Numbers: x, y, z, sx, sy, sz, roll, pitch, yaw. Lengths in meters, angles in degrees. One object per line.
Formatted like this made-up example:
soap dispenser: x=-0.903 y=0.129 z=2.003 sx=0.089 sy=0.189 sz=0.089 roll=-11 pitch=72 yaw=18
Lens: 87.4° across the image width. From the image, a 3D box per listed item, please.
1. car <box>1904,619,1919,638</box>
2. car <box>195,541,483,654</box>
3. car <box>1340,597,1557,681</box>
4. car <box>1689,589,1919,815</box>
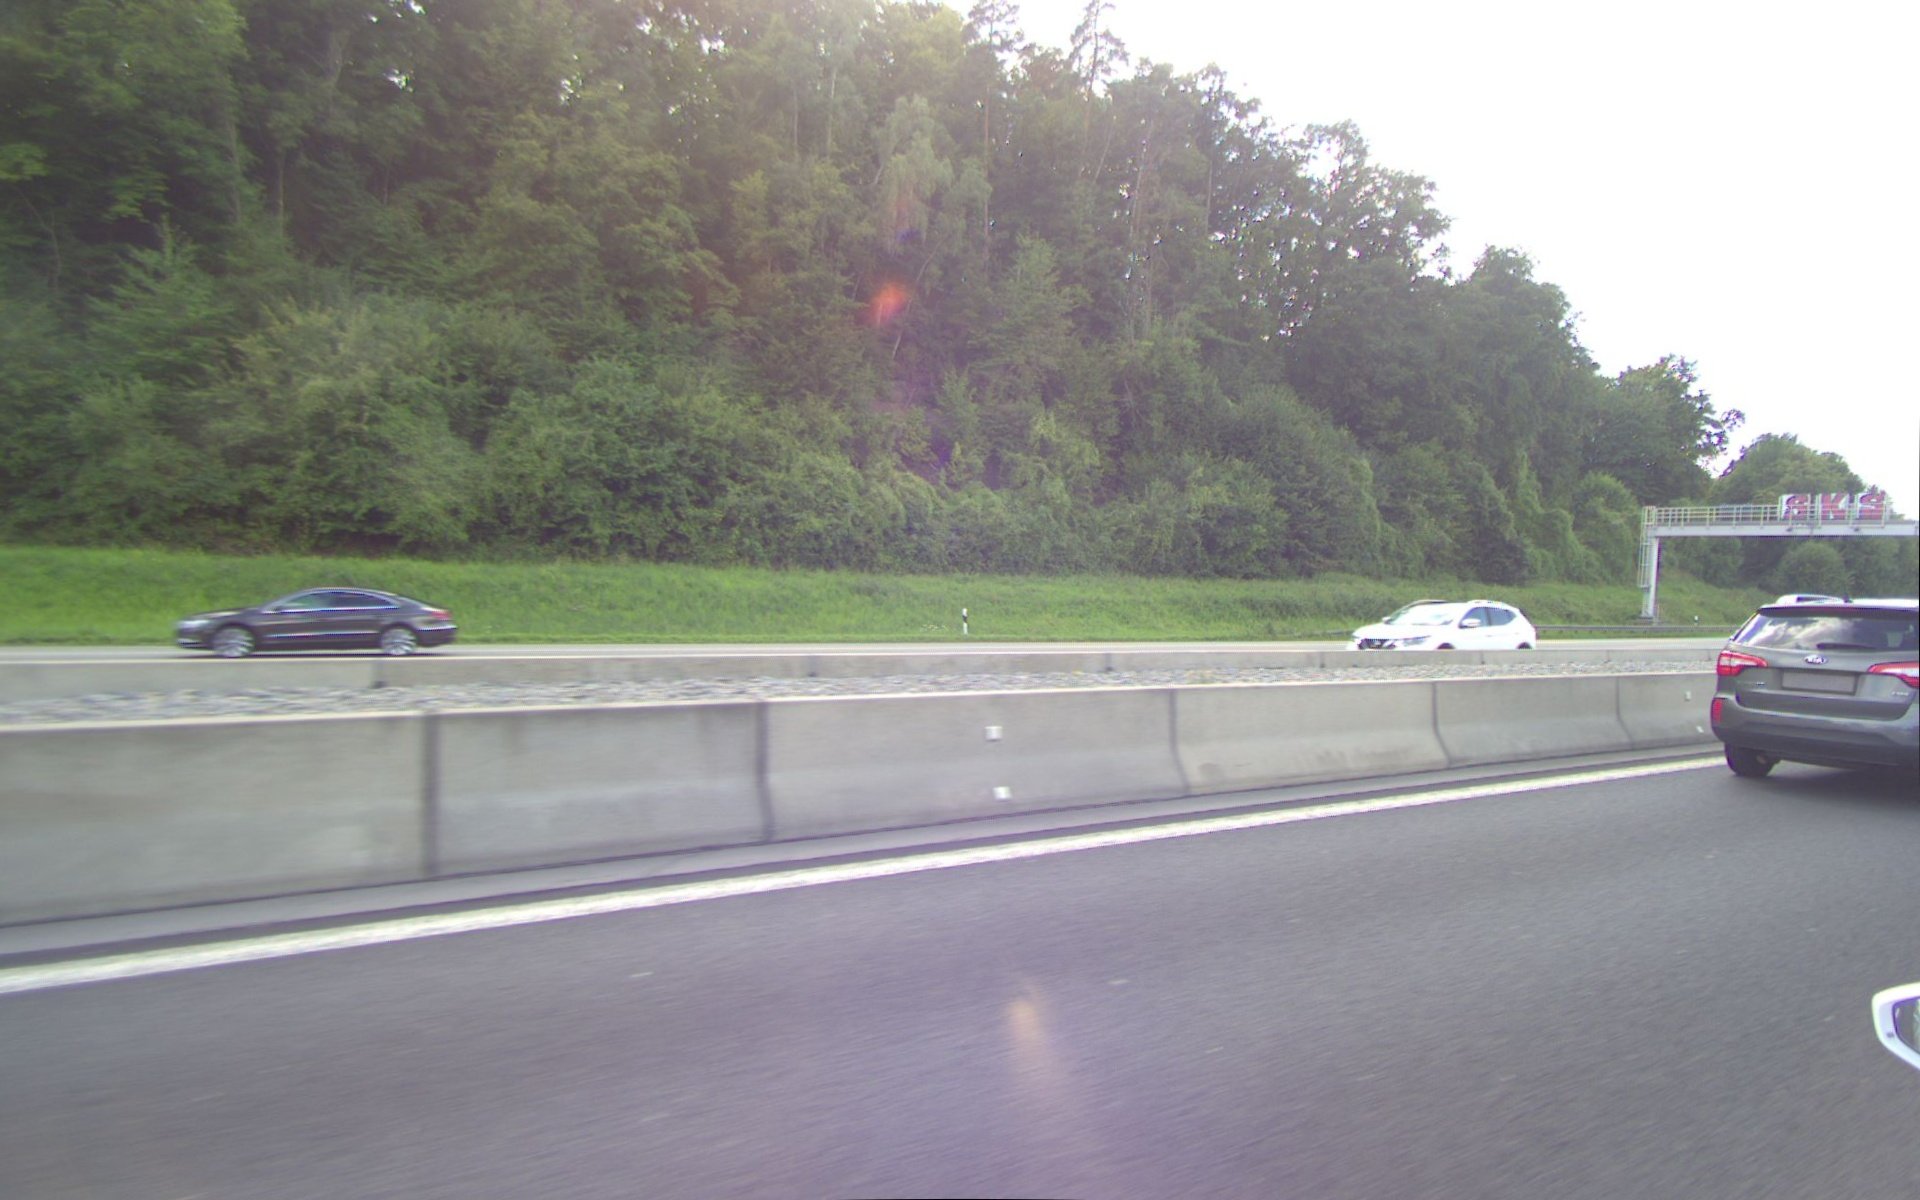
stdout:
car: x=70.622 y=2.092 z=73.253 sx=4.146 sy=1.329 sz=1.810 roll=1 pitch=0 yaw=-35
car: x=-12.396 y=-0.008 z=20.381 sx=4.726 sy=2.061 sz=2.015 roll=1 pitch=0 yaw=-31
car: x=9.678 y=0.742 z=19.833 sx=4.244 sy=1.480 sz=1.752 roll=1 pitch=0 yaw=-30
car: x=9.344 y=0.837 z=9.757 sx=5.127 sy=1.759 sz=1.808 roll=1 pitch=0 yaw=-31
